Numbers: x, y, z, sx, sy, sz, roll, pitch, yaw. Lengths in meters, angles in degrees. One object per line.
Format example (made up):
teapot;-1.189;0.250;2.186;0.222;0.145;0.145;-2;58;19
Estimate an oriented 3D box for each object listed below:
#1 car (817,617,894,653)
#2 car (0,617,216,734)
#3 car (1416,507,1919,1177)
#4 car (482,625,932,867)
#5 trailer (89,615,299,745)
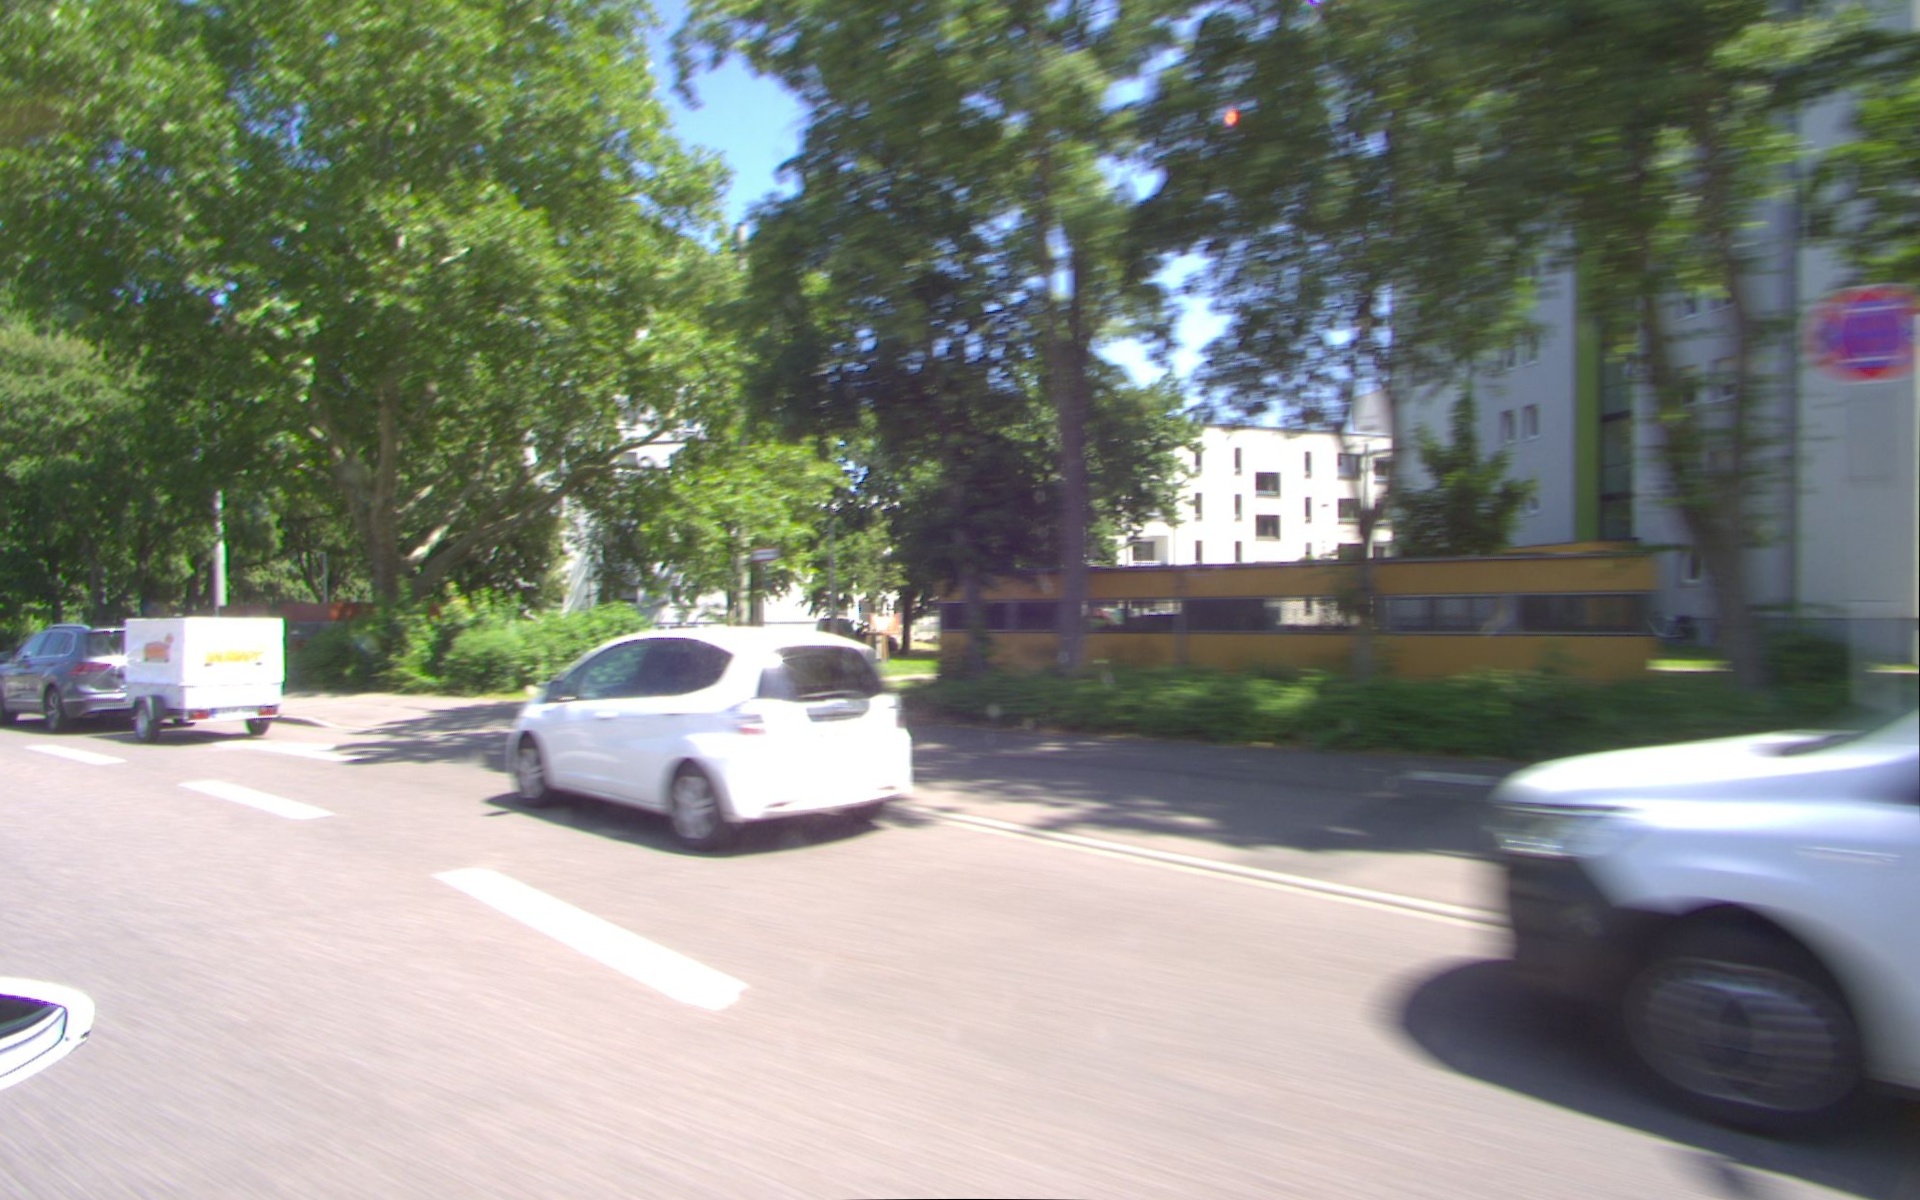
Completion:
car;-5.296;1.784;50.554;3.681;1.722;1.740;1;-2;-13
car;-14.061;1.153;16.257;4.335;1.675;1.697;-1;-2;32
car;3.777;0.649;2.668;4.379;1.769;1.701;-2;-3;43
car;-2.205;0.982;8.180;3.835;1.507;1.712;-2;-3;42
trailer;-11.013;1.084;14.388;2.814;1.690;1.467;-1;-2;31
